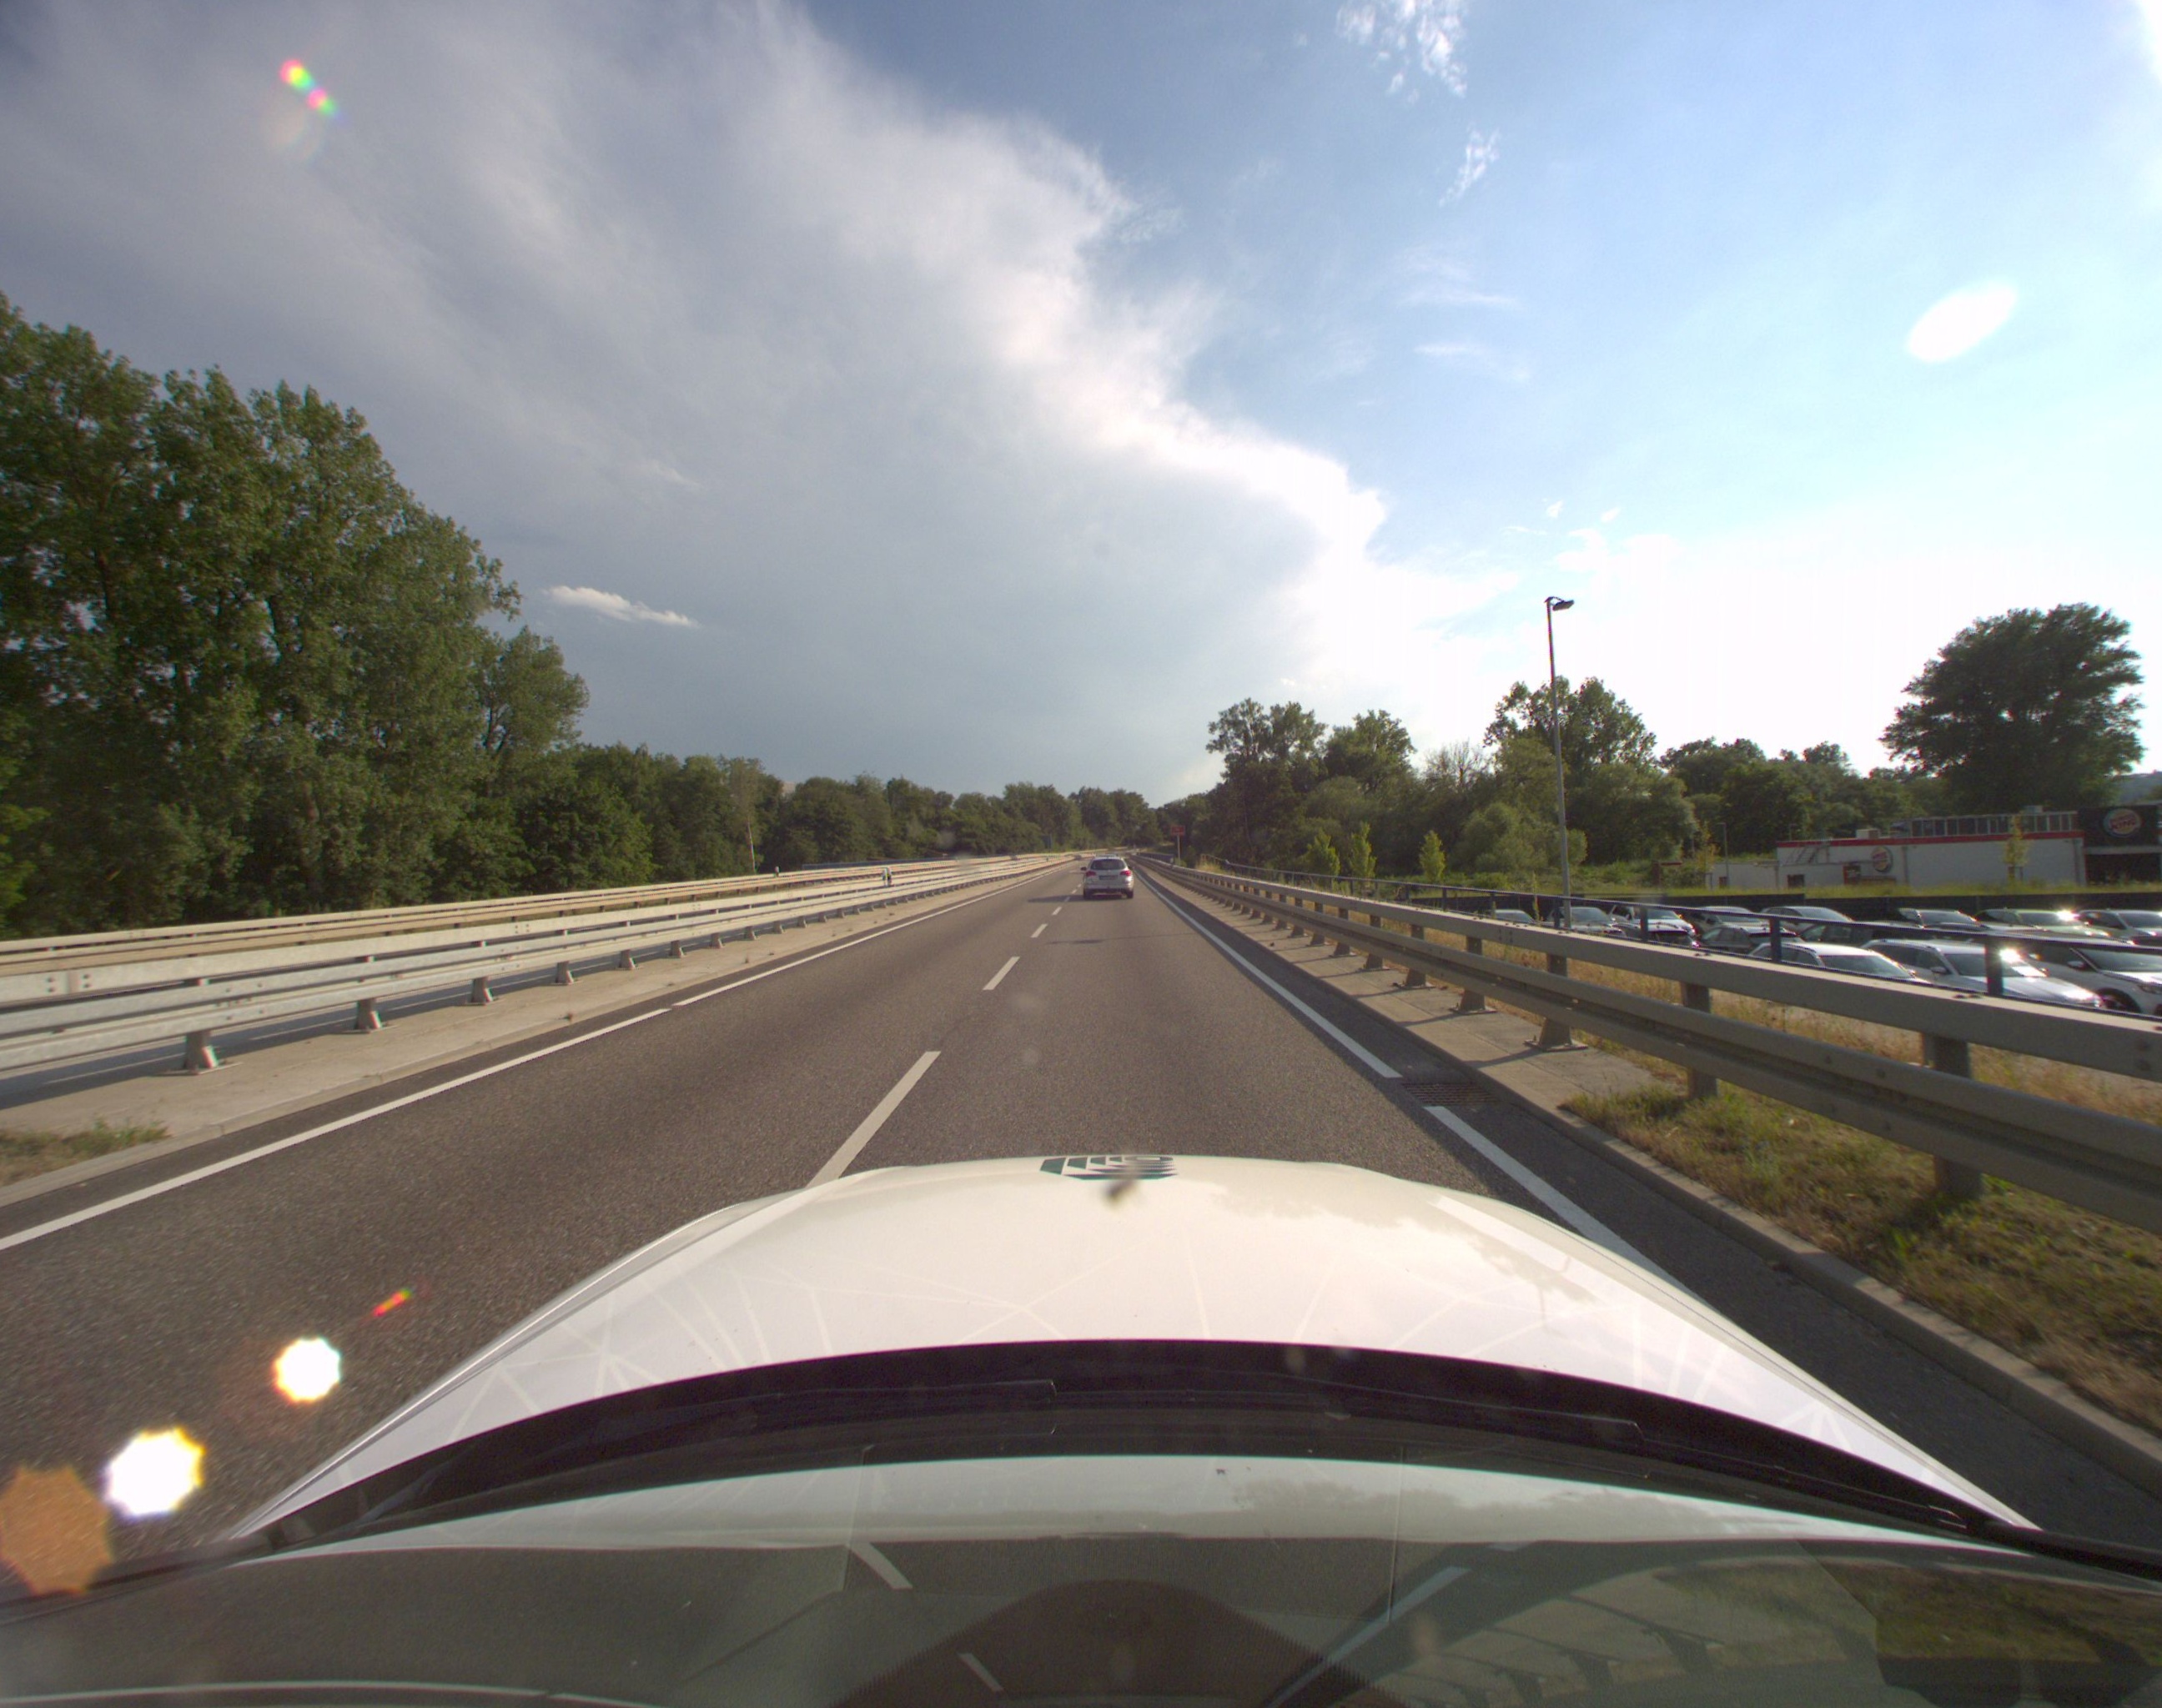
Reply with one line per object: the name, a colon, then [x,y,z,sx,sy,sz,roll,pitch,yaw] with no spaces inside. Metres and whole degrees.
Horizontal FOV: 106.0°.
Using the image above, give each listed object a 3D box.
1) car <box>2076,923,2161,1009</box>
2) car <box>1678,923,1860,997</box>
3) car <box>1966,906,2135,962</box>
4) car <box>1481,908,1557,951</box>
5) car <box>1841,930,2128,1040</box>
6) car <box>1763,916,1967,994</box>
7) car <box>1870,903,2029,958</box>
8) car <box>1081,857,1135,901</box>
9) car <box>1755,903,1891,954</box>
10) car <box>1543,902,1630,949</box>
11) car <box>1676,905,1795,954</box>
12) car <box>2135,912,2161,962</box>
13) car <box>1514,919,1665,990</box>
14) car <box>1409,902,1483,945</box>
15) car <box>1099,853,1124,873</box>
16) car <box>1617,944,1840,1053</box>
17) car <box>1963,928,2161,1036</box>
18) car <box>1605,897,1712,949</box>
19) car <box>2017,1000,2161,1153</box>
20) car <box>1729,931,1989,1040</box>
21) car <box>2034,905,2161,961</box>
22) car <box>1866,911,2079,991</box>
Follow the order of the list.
car: [23.595,2.416,16.681,1.766,1.684,4.007,-1,0,6]
car: [18.190,2.749,21.806,1.698,1.464,4.004,-1,0,4]
car: [31.951,2.594,27.033,1.692,1.464,4.018,-1,0,17]
car: [17.584,2.986,32.863,1.804,1.354,4.016,-1,0,15]
car: [18.522,2.601,17.022,1.766,1.684,4.006,-1,0,5]
car: [21.056,2.640,22.155,1.697,1.623,4.363,-1,0,7]
car: [29.358,2.535,27.730,1.794,1.502,4.015,-1,0,14]
car: [0.984,0.872,29.642,1.802,1.486,4.001,-1,0,2]
car: [26.393,2.612,29.161,1.939,1.464,4.015,-1,0,14]
car: [19.948,2.780,32.315,1.804,1.499,4.016,-1,0,15]
car: [24.206,2.746,30.313,1.939,1.464,4.015,-1,0,14]
car: [35.838,2.717,25.144,1.939,1.594,4.015,-1,0,14]
car: [13.663,2.642,22.168,1.699,1.464,4.002,-1,0,2]
car: [15.172,2.847,34.082,1.697,1.464,4.007,-1,0,7]
car: [2.341,0.663,62.854,1.802,1.486,4.001,-1,0,2]
car: [13.757,3.002,17.661,1.768,1.684,4.003,-1,0,3]
car: [21.055,2.526,16.748,1.766,1.684,4.007,-1,0,6]
car: [22.095,2.594,31.381,1.939,1.642,4.260,-1,0,14]
car: [13.040,2.635,8.632,1.699,1.464,4.001,-1,0,2]
car: [16.121,2.643,17.217,1.768,1.684,4.003,-1,0,3]
car: [33.892,2.530,26.617,1.692,1.464,4.018,-1,0,17]
car: [23.545,2.488,21.764,1.939,1.643,4.015,-1,0,14]
